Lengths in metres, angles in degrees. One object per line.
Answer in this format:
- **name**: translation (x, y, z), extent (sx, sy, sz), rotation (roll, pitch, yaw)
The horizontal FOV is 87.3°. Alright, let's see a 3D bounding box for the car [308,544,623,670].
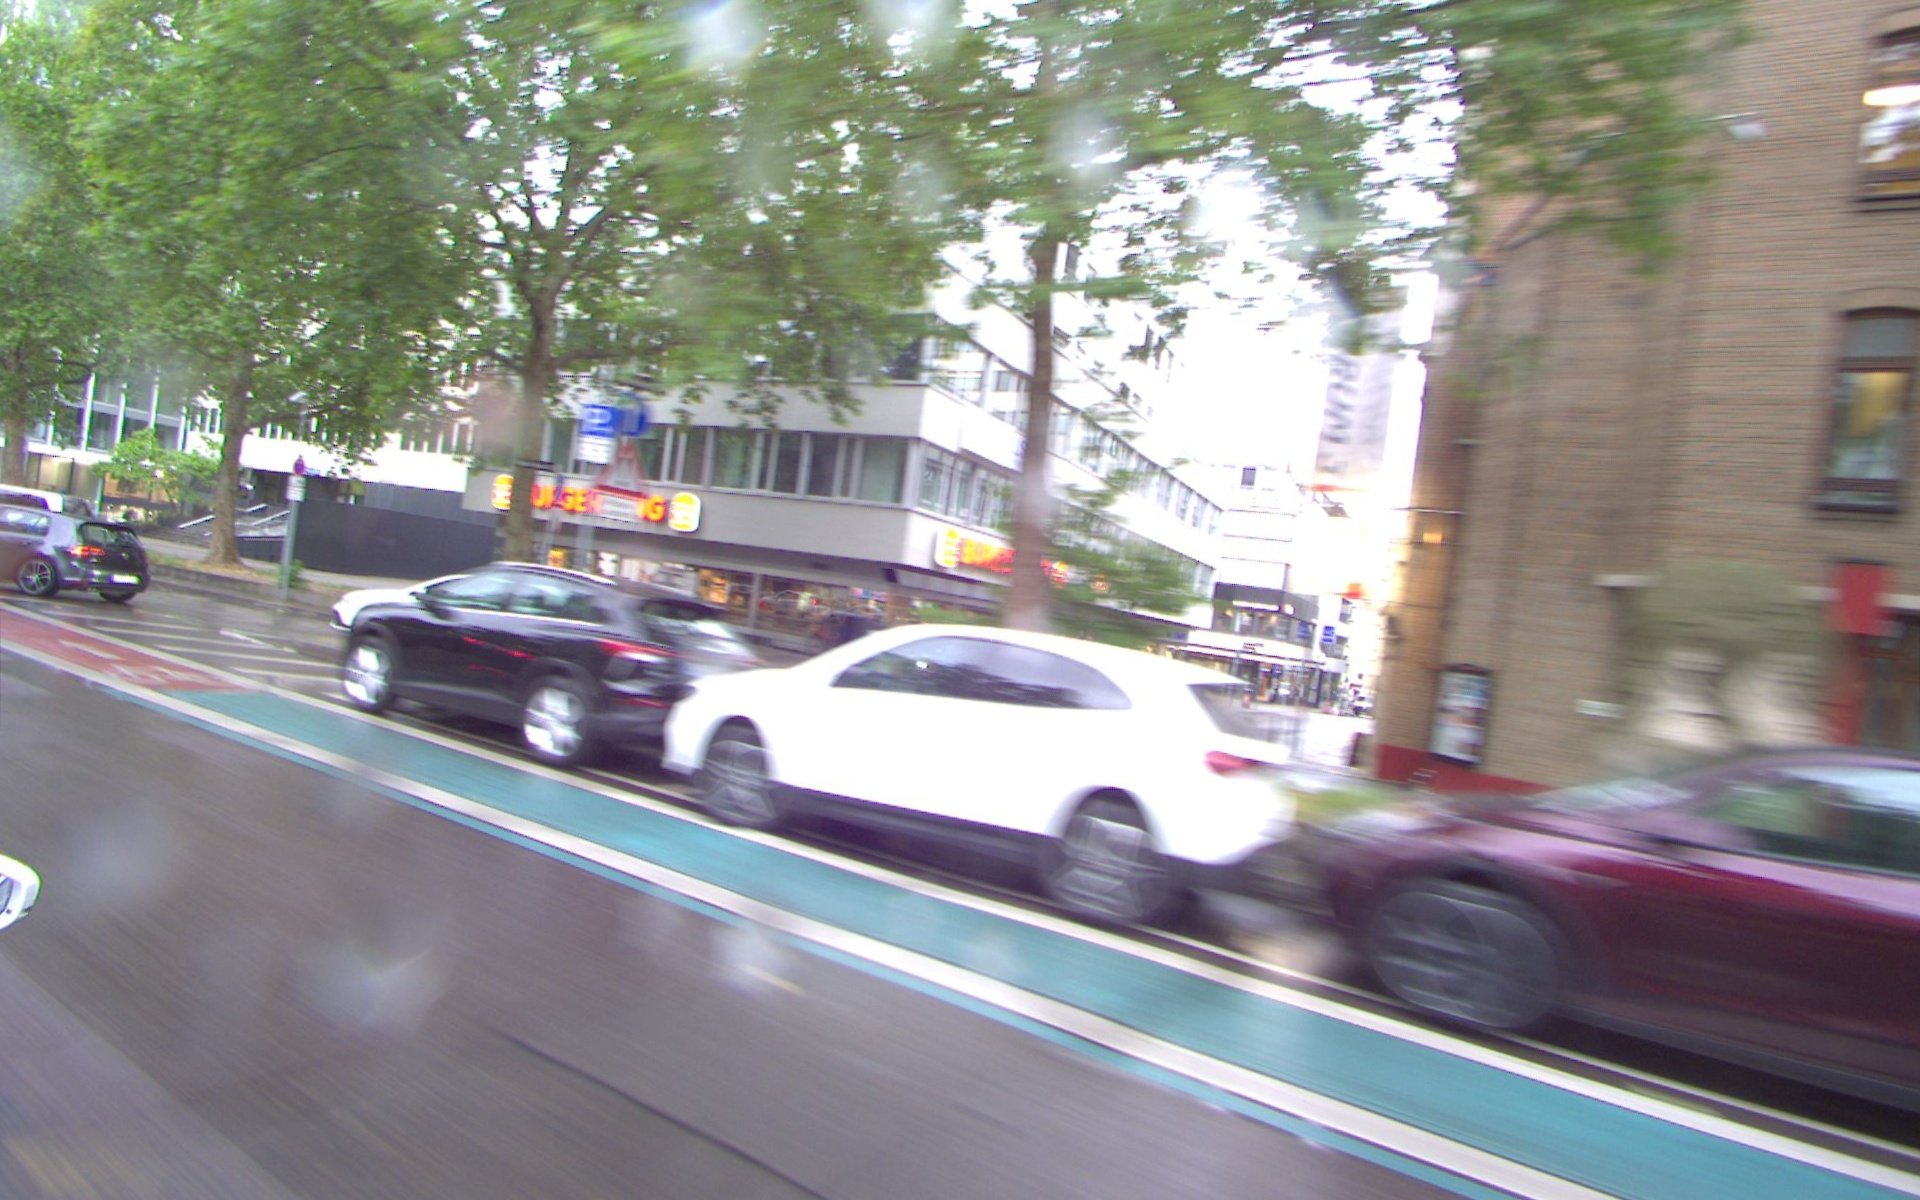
- **car**: translation (-8.450, 0.199, 17.591), extent (4.433, 1.460, 1.868), rotation (8, -4, -8)

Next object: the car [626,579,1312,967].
- **car**: translation (-0.003, 0.972, 7.050), extent (4.333, 1.603, 1.757), rotation (7, -2, 27)

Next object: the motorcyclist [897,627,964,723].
- **motorcyclist**: translation (-0.541, 1.402, 18.924), extent (0.855, 1.663, 0.850), rotation (8, -1, 13)

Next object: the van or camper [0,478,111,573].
- **van or camper**: translation (-24.247, -2.059, 24.483), extent (4.882, 2.014, 1.994), rotation (9, -2, -21)

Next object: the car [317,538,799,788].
- **car**: translation (-3.902, 0.511, 9.589), extent (4.349, 1.621, 1.797), rotation (7, -2, 30)

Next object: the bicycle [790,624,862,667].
- **bicycle**: translation (-3.896, 1.316, 29.280), extent (2.040, 0.907, 0.583), rotation (9, 3, 29)

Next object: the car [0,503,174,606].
- **car**: translation (-16.097, -0.877, 17.075), extent (3.928, 1.430, 1.770), rotation (8, 0, -3)

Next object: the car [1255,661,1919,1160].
- **car**: translation (4.020, 1.446, 4.952), extent (4.481, 1.607, 1.999), rotation (7, -2, 28)

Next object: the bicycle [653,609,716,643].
- **bicycle**: translation (-8.806, 0.838, 32.143), extent (1.878, 0.829, 0.643), rotation (7, -1, 23)

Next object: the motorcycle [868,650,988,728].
- **motorcycle**: translation (-0.592, 1.658, 18.932), extent (1.983, 1.156, 0.870), rotation (8, -1, 13)

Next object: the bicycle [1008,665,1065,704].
- **bicycle**: translation (2.191, 2.414, 28.651), extent (0.615, 0.948, 1.969), rotation (7, -2, 35)

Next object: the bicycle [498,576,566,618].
- **bicycle**: translation (-11.845, -0.084, 27.820), extent (1.879, 0.936, 0.641), rotation (8, 5, 27)

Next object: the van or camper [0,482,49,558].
- **van or camper**: translation (-29.338, -2.651, 28.218), extent (5.024, 2.041, 1.987), rotation (9, -2, -23)
